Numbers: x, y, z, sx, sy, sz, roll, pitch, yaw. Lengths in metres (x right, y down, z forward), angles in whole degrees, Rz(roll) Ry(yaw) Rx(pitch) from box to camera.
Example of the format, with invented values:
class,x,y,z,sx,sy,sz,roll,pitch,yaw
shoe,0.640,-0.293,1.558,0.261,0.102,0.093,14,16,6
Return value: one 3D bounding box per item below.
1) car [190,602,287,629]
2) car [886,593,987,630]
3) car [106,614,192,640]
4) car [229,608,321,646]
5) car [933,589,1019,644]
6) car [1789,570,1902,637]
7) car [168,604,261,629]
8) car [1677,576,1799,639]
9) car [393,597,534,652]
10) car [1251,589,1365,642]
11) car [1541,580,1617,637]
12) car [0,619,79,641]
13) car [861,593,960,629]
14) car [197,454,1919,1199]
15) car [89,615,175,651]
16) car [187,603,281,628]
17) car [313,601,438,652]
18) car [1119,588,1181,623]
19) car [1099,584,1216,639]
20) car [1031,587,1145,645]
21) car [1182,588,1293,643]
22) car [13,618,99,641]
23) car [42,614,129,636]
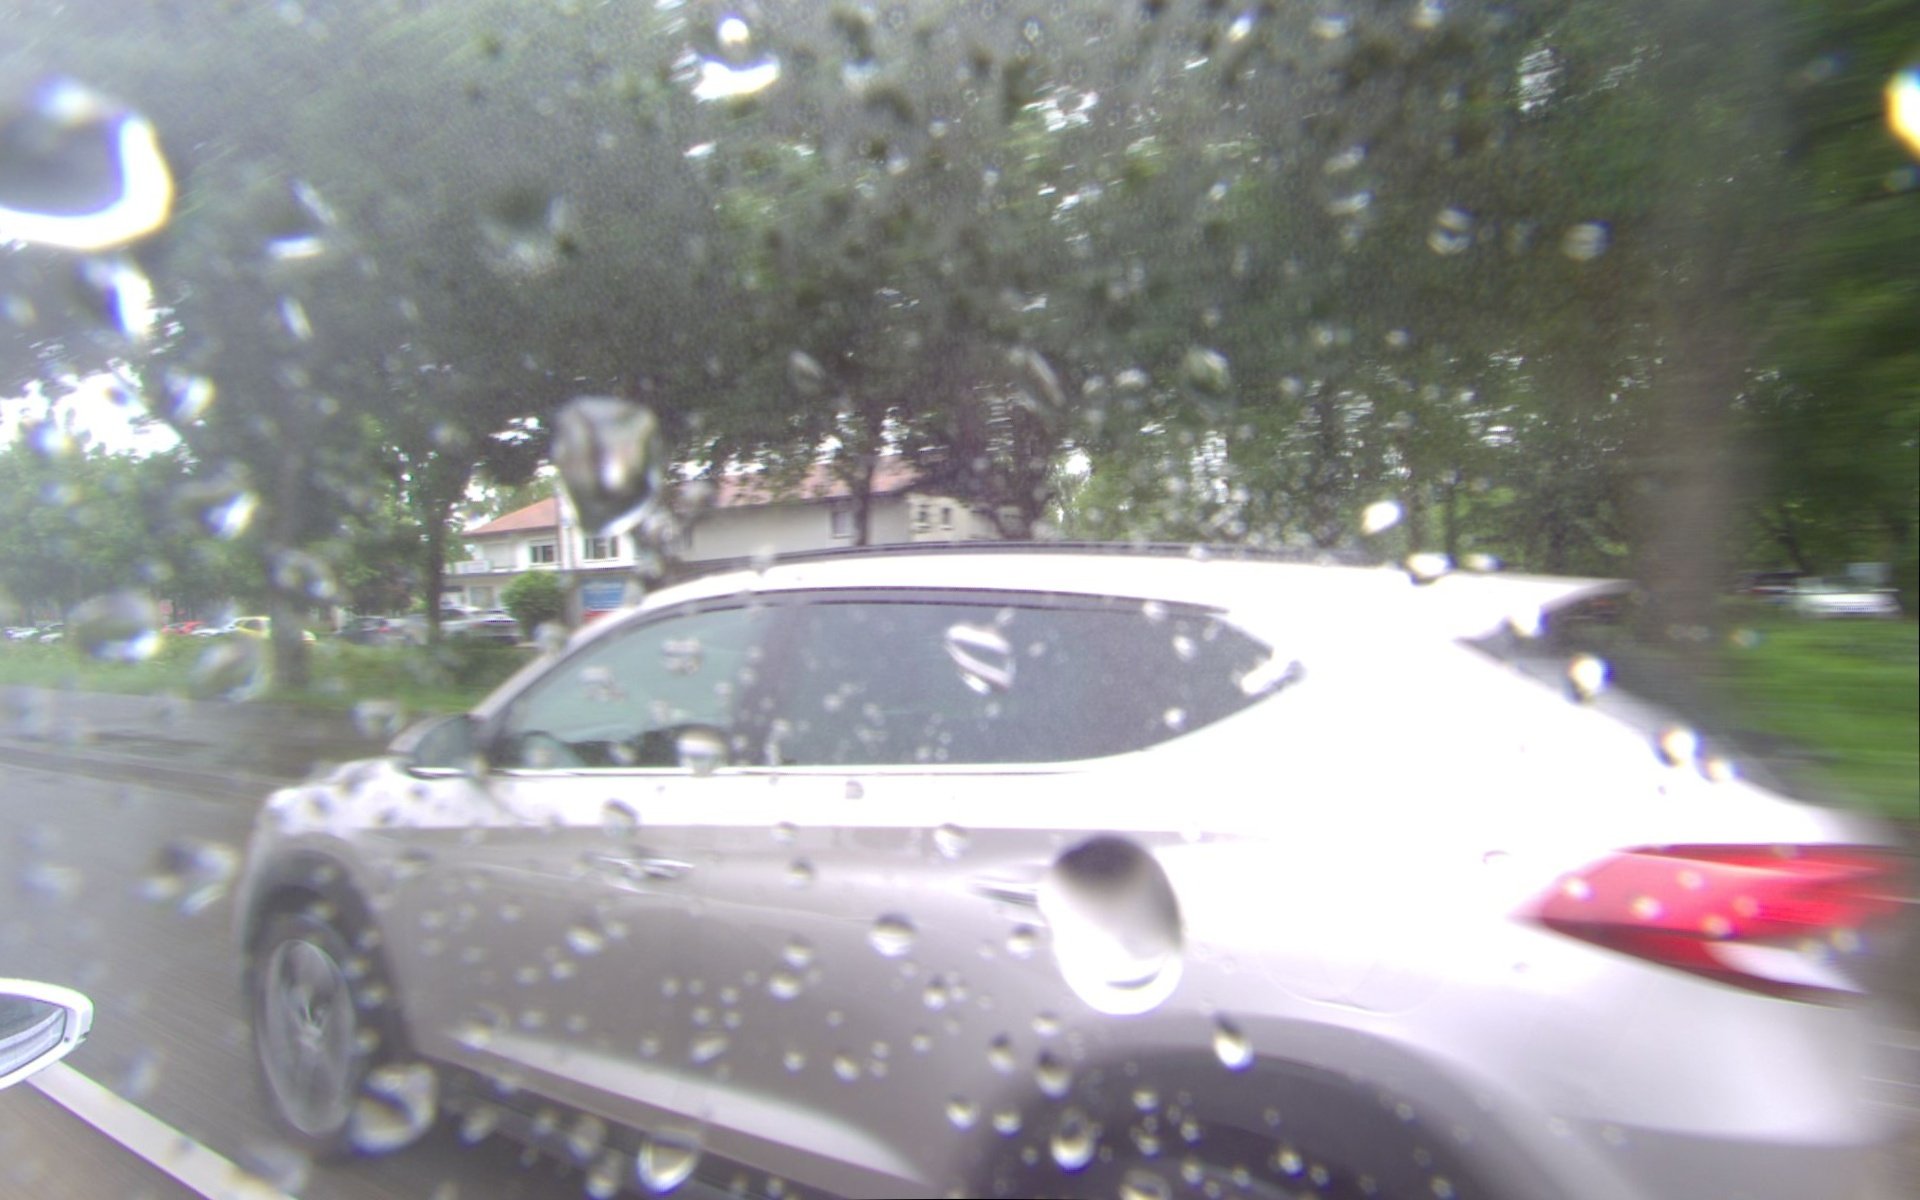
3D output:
class,x,y,z,sx,sy,sz,roll,pitch,yaw
car,-42.868,0.969,59.577,1.895,1.522,4.331,-1,-2,29
car,-0.997,0.497,41.326,3.941,1.403,1.582,-2,-2,30
car,-57.122,1.894,70.586,1.916,1.747,4.331,-1,-2,29
car,-28.360,1.150,41.437,4.013,1.505,1.635,-2,-2,31
car,0.365,0.479,26.756,1.497,1.369,3.386,0,-2,-13
car,22.530,0.148,25.608,1.859,1.544,3.973,-2,-2,38
car,-46.798,1.051,62.929,1.916,1.503,4.331,-1,-2,29
car,20.033,0.259,26.015,2.138,1.467,5.386,-2,-2,34
car,-16.987,0.846,34.211,4.807,1.740,1.990,-2,1,31
car,10.240,0.484,29.756,1.573,1.467,3.751,0,-2,-10
car,17.193,0.280,27.746,1.647,1.467,3.701,-2,-2,34
car,-72.385,2.337,78.541,1.969,1.666,4.569,-1,-2,27
car,-1.962,0.462,39.450,3.647,1.332,1.570,-2,-2,30
car,-0.208,0.688,2.929,4.135,1.631,1.881,0,0,32
car,-41.561,1.662,50.227,4.576,1.647,1.989,-2,0,33
car,-44.748,0.992,61.822,1.916,1.503,4.331,-1,-2,29
car,-21.703,0.994,37.153,4.573,1.740,1.990,-2,1,31
car,8.723,0.304,45.774,1.709,1.474,3.985,-1,-2,28
car,5.584,0.369,28.721,1.641,1.467,3.745,0,-2,-19
car,3.430,0.475,27.512,1.641,1.467,3.745,0,-2,-19
car,7.970,0.484,29.086,1.638,1.467,3.751,0,-2,-10
car,-69.835,2.274,77.445,1.969,1.727,4.567,-1,-2,28
car,-65.114,1.901,74.633,1.920,1.577,4.557,-2,-2,35
